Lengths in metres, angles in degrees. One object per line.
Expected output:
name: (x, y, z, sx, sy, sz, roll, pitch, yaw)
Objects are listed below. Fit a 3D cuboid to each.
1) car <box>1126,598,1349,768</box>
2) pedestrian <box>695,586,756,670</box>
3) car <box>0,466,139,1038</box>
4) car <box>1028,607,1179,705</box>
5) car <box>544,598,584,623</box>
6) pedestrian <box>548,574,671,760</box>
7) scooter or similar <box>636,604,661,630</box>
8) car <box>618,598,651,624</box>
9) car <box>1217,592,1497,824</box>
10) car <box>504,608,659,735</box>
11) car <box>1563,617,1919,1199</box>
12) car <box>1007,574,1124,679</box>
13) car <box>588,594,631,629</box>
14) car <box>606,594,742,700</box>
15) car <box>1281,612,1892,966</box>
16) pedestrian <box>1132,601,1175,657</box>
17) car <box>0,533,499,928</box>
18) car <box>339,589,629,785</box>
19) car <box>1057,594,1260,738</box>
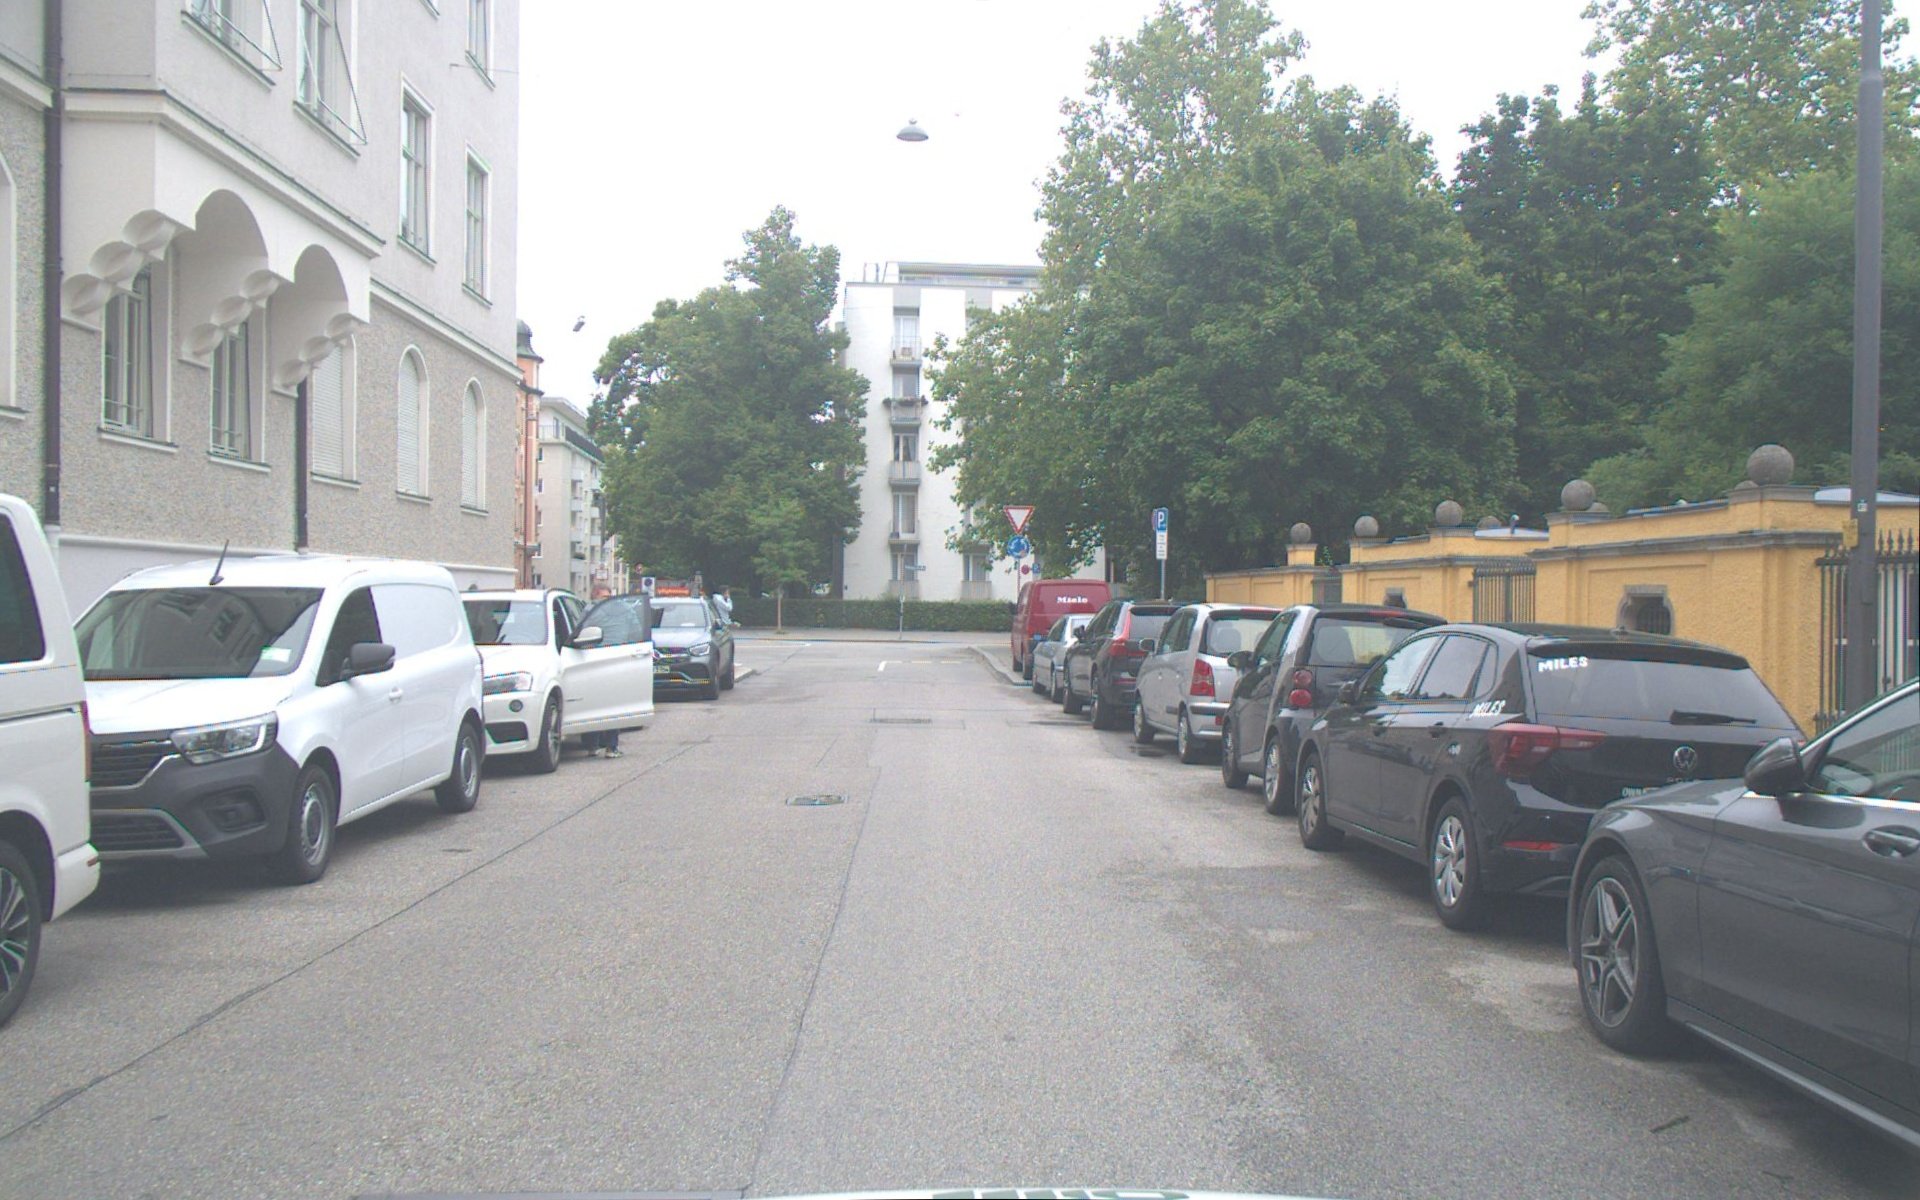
car: (2.842, 0.794, 17.650, 1.455, 1.566, 3.689, 2, 0, -4)
pedestrian: (-5.128, 0.609, 36.207, 1.040, 1.802, 0.866, 1, -1, -35)
car: (-4.173, 0.530, 4.209, 1.818, 1.972, 4.955, -1, 0, -2)
car: (2.388, 0.908, 28.616, 1.847, 1.474, 4.364, 2, 0, -5)
car: (-27.245, 0.711, 113.881, 1.936, 1.608, 4.405, 1, 0, -4)
pedestrian: (-3.513, 0.647, 16.547, 0.952, 1.786, 0.867, 1, 0, -32)
scooter or similar: (-13.738, 0.740, 72.995, 0.989, 1.107, 0.386, 1, -1, -33)
car: (-20.027, 0.673, 101.923, 1.801, 1.531, 4.107, -1, 0, -8)
car: (3.054, 0.774, 13.225, 1.477, 1.593, 2.869, 3, 0, -1)
car: (-4.729, 0.833, 21.048, 1.661, 1.439, 3.655, -1, 0, -9)
car: (3.145, 0.785, 4.038, 1.657, 1.439, 4.515, 0, 0, -1)
car: (2.109, 0.516, 34.342, 1.836, 1.954, 4.885, 2, 0, -3)
car: (-15.967, 0.523, 75.526, 1.786, 1.531, 4.411, -1, 0, -10)
car: (-4.751, 0.735, 28.024, 1.712, 1.630, 4.494, -1, 0, -3)
car: (3.109, 0.836, 9.162, 1.658, 1.439, 4.034, 3, 0, -3)
pedestrian: (4.855, 0.719, 41.489, 0.988, 1.361, 0.877, 1, 0, 1)
car: (-4.328, 0.609, 10.173, 1.711, 1.819, 5.034, -1, 0, -2)
car: (-4.454, 0.734, 16.174, 1.712, 1.630, 4.494, -1, 0, -3)
car: (2.557, 0.804, 22.523, 1.847, 1.682, 4.820, 2, 0, -4)
